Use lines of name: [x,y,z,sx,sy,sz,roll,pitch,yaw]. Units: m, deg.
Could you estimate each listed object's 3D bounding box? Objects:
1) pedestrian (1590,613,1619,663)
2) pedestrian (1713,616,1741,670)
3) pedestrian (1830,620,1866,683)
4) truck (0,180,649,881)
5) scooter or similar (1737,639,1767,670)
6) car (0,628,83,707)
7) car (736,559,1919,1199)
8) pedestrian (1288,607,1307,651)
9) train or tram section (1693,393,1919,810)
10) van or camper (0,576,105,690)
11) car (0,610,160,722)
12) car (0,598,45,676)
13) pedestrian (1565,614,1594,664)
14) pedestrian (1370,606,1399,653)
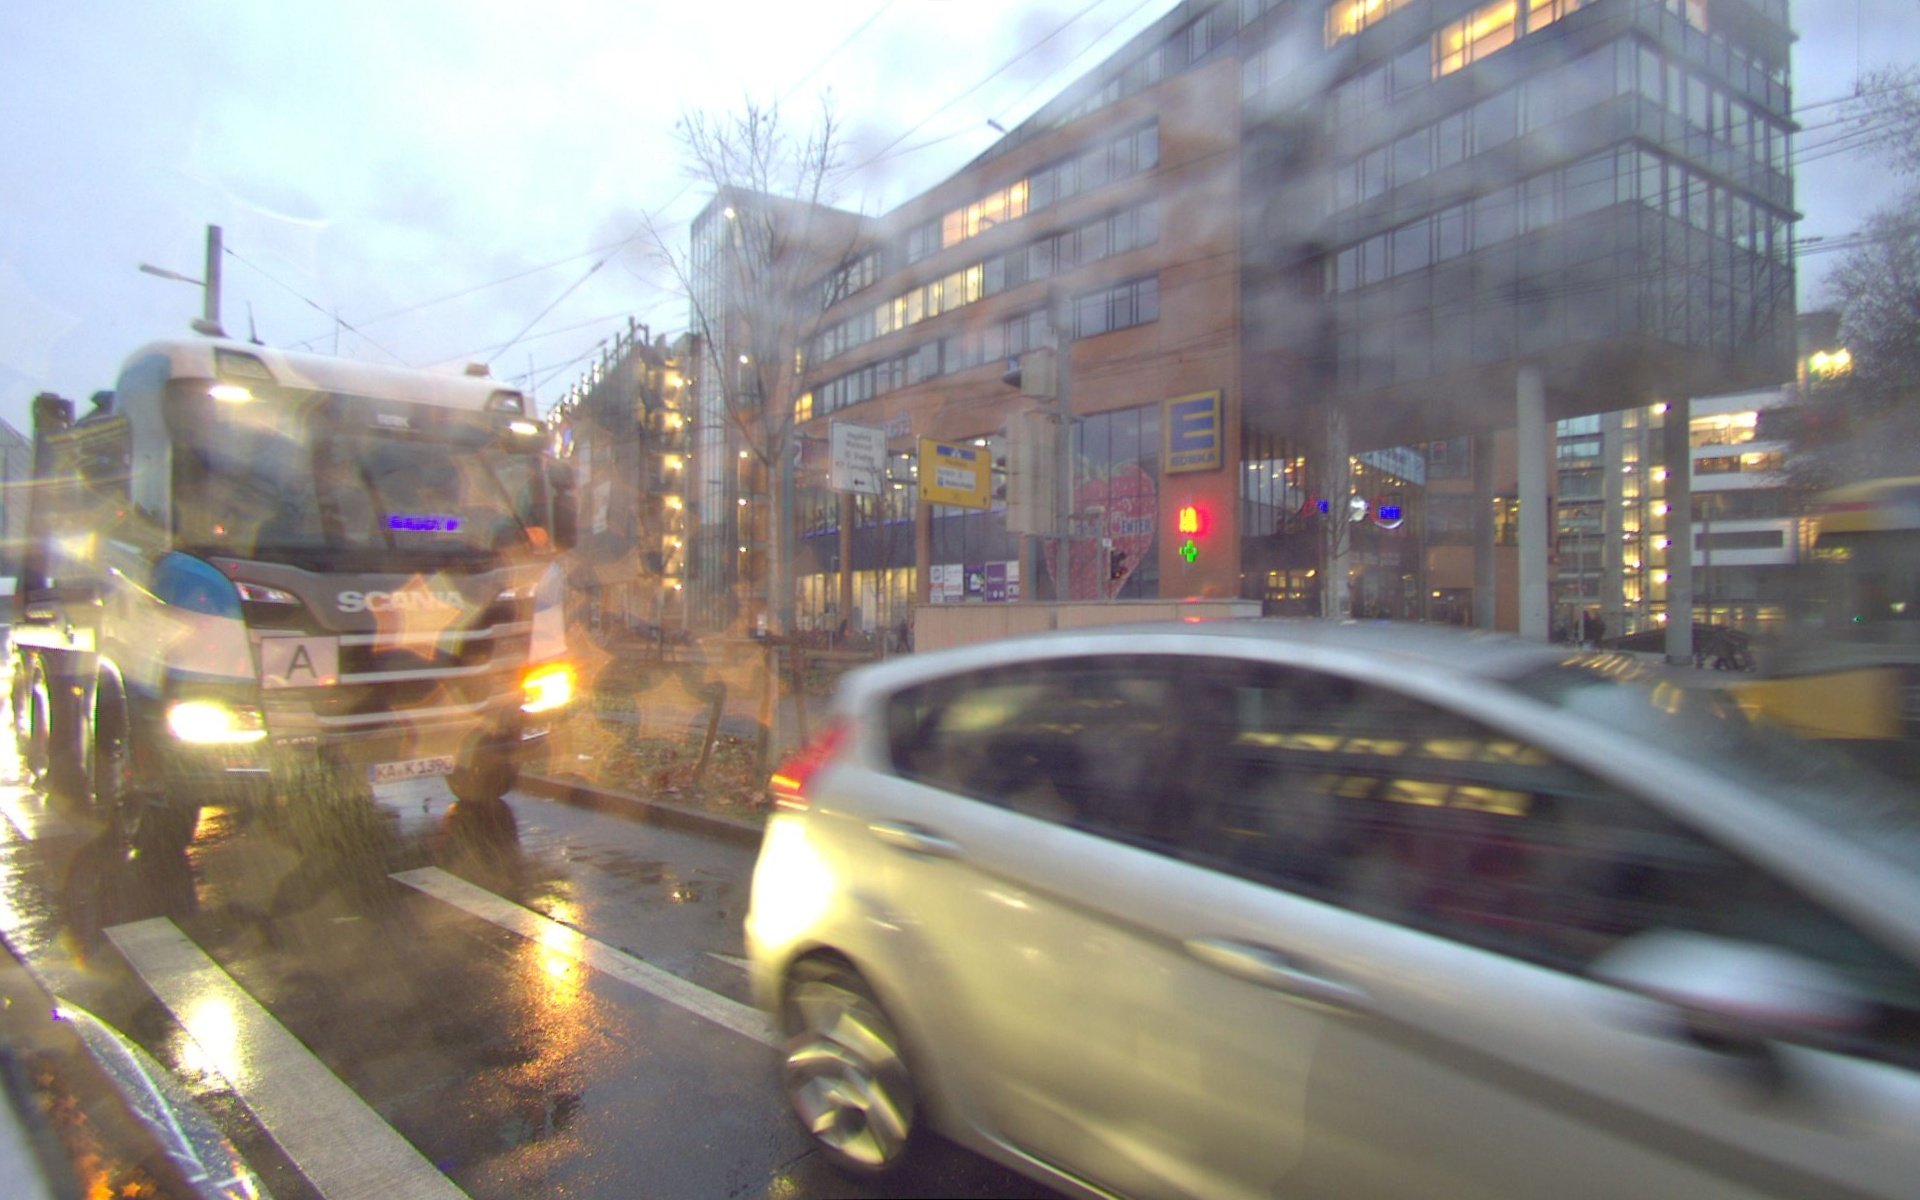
pedestrian: [24.479,1.443,38.437,0.723,1.878,0.574,1,-2,-14]
pedestrian: [25.400,1.419,33.523,0.564,1.787,0.638,2,-2,-43]
pedestrian: [26.951,1.560,30.726,0.564,1.878,0.736,2,-2,-43]
truck: [-6.057,-0.293,8.800,7.521,3.661,2.810,-1,-2,40]
scooter or similar: [25.837,1.768,33.017,0.545,0.968,0.667,2,-2,-43]
car: [-18.091,1.226,19.258,4.057,1.355,1.735,-1,-2,44]
car: [1.387,0.673,2.124,4.001,1.458,1.686,0,0,44]
pedestrian: [13.606,1.157,40.800,0.658,1.766,0.534,0,-2,12]
train or tram section: [15.880,-0.068,4.754,20.043,3.642,2.837,-1,-2,38]
van or camper: [-23.176,0.794,25.045,5.894,2.551,2.126,-1,-2,40]
car: [-13.931,1.017,15.734,3.939,1.535,1.613,-4,-4,41]
car: [-37.610,1.425,39.536,5.811,2.885,2.102,-1,-2,41]
pedestrian: [23.378,1.460,38.204,0.723,1.878,0.574,1,-2,-13]
pedestrian: [16.112,1.124,38.419,0.782,1.766,0.704,0,-2,-1]
